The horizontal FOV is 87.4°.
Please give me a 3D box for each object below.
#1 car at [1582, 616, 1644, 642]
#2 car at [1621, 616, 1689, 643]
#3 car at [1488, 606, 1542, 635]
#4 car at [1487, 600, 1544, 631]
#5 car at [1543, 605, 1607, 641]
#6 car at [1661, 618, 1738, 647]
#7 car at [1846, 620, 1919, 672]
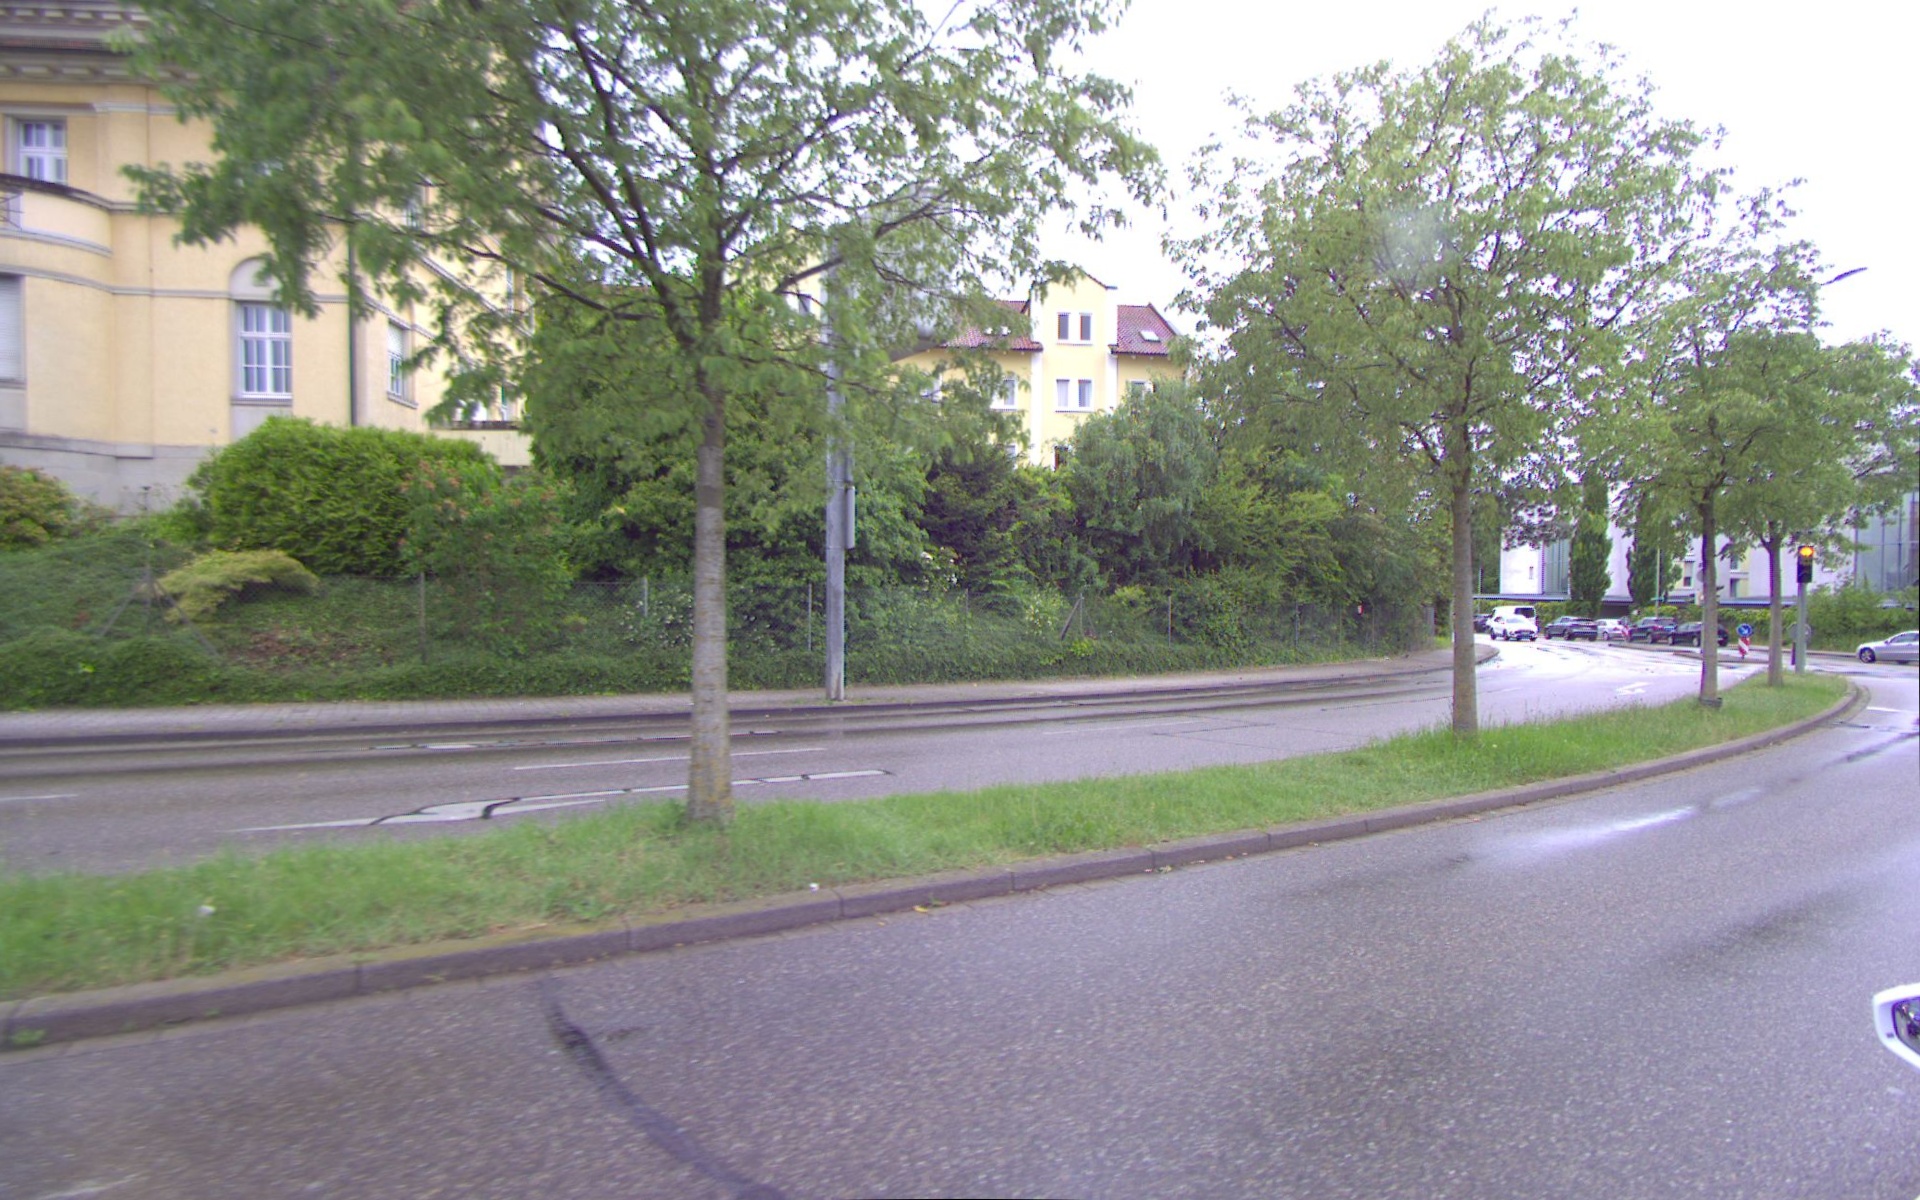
[{"bbox_3d":[45.050,1.983,69.418,1.959,1.576,4.002,2,1,7],"label":"car"},{"bbox_3d":[44.618,1.853,64.565,1.959,1.576,4.002,0,0,7],"label":"car"},{"bbox_3d":[35.787,1.316,64.847,1.959,1.662,4.002,2,1,12],"label":"car"},{"bbox_3d":[46.858,1.325,84.878,2.548,2.445,5.260,1,-2,9],"label":"car"},{"bbox_3d":[41.260,1.522,67.484,1.941,2.041,4.000,1,4,4],"label":"car"},{"bbox_3d":[44.133,1.931,60.047,1.959,1.576,4.002,0,0,7],"label":"car"},{"bbox_3d":[38.399,1.841,40.279,1.962,1.782,3.996,0,4,-4],"label":"car"}]
